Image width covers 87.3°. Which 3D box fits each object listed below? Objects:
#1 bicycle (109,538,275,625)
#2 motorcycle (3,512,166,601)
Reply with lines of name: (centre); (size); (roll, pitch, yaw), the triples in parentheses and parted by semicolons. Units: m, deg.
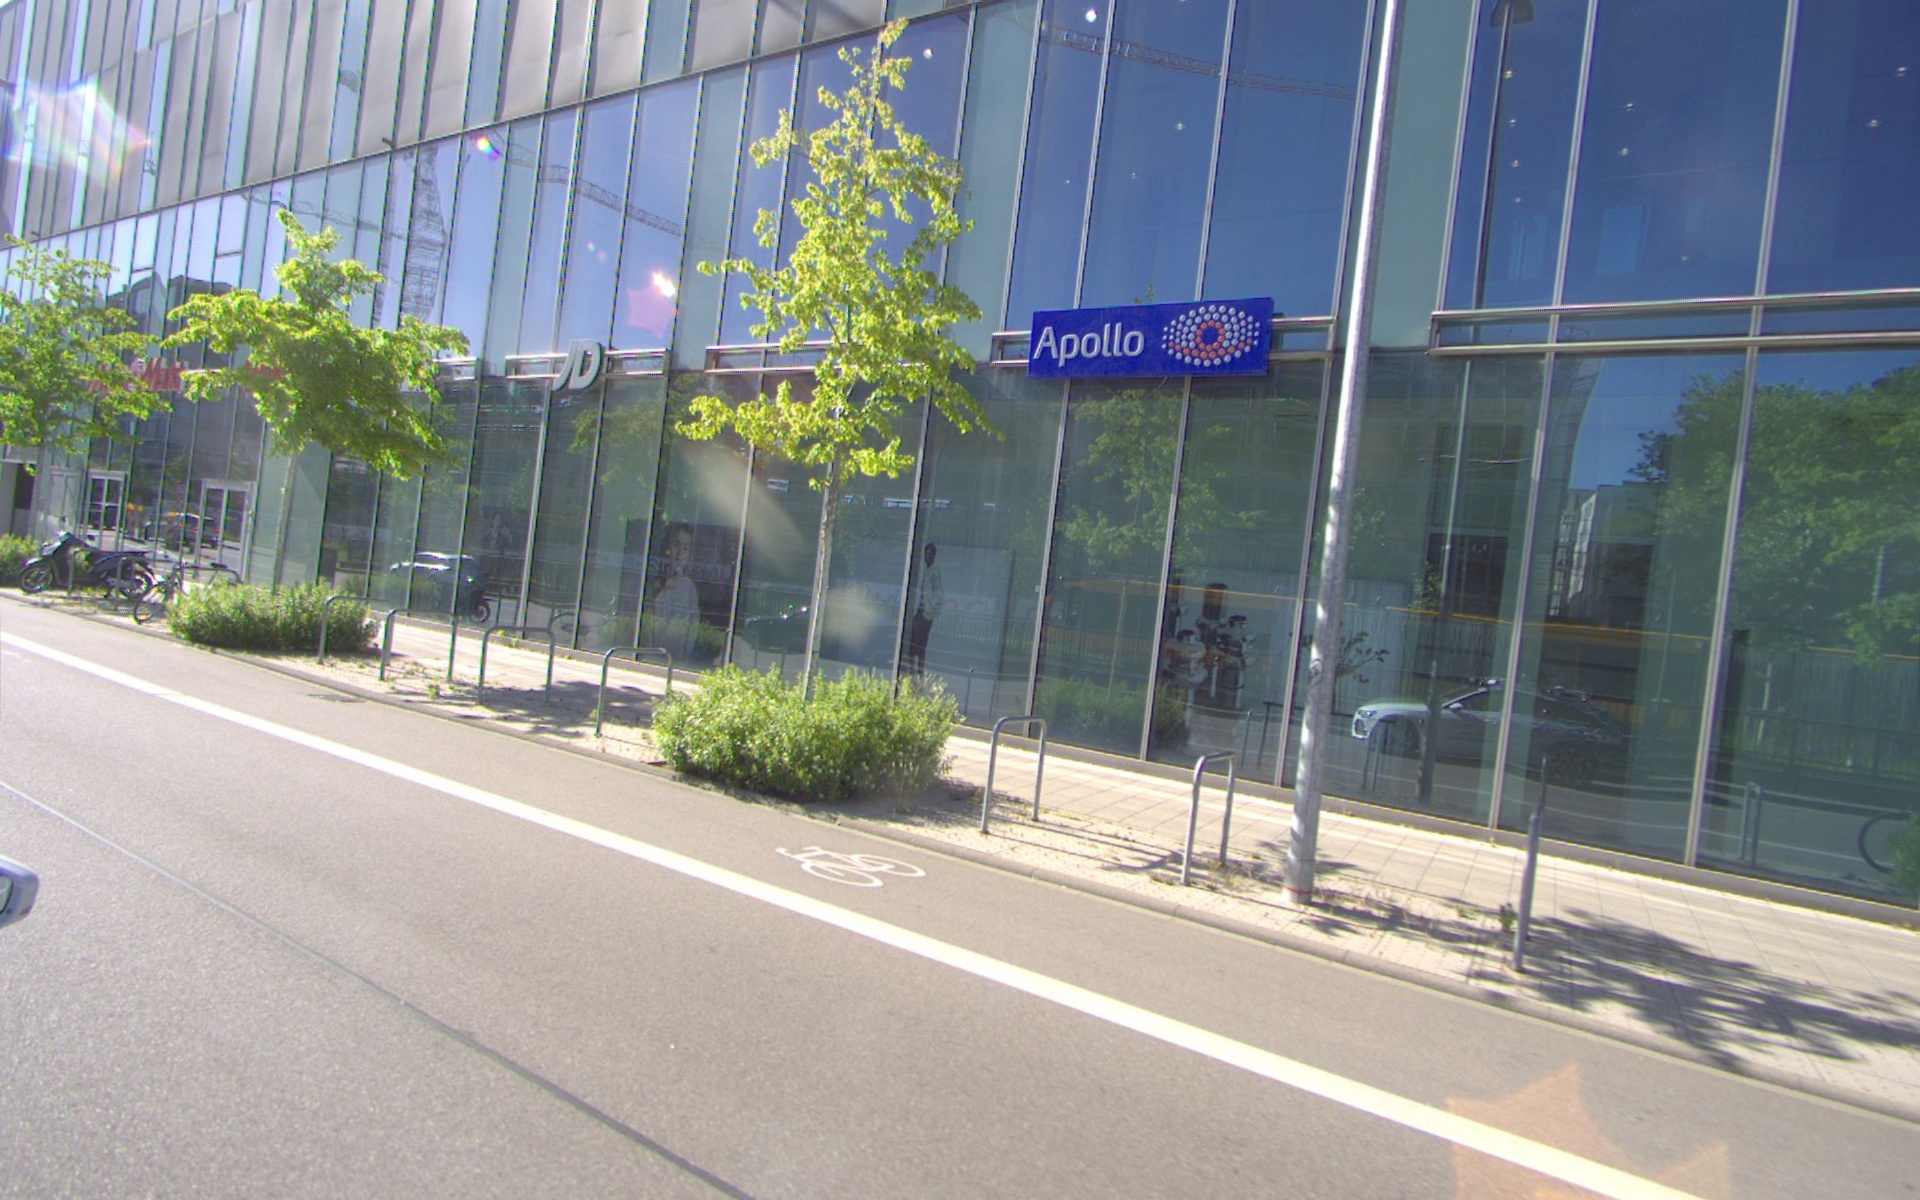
bicycle: (-11.709, -0.246, 15.408); (0.659, 1.166, 1.886); (7, 1, 22)
motorcycle: (-15.463, -0.750, 17.847); (2.059, 1.371, 0.646); (5, 2, -35)
